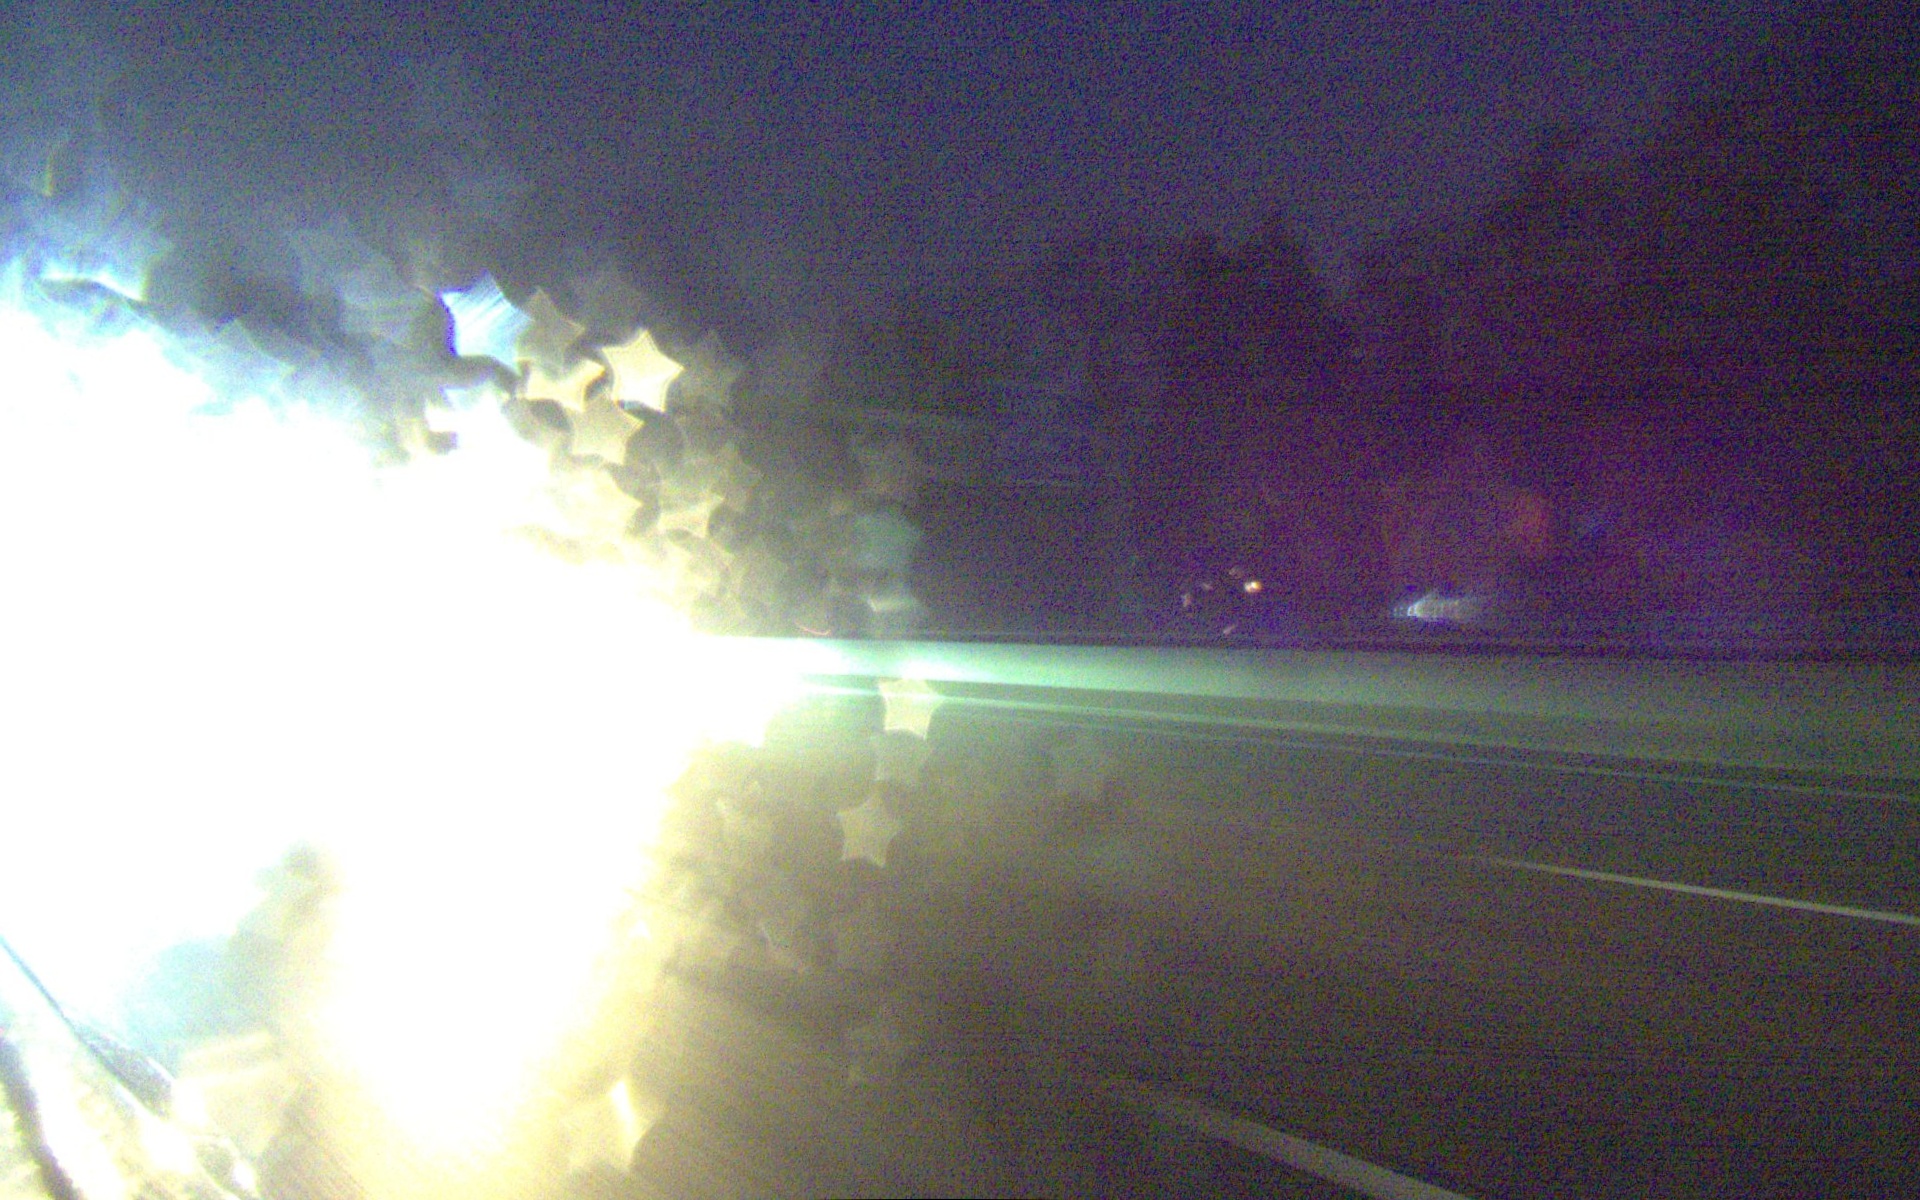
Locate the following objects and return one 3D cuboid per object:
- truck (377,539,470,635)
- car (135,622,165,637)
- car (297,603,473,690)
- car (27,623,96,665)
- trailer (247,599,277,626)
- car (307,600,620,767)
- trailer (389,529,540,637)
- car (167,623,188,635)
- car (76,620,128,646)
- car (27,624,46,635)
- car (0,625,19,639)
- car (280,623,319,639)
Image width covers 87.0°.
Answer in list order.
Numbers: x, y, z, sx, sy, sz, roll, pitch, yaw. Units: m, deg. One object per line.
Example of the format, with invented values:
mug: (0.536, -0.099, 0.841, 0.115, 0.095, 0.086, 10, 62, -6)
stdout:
truck: (-36.969, -0.887, 69.683, 6.172, 6.172, 3.426, -1, 4, 43)
car: (-94.407, 3.413, 117.919, 4.674, 1.608, 1.972, -1, 2, 43)
car: (-13.494, 1.003, 23.633, 4.882, 1.790, 1.974, -1, 0, 40)
car: (-39.944, 1.897, 44.949, 4.001, 1.689, 1.971, -1, 0, 44)
trailer: (-137.649, 2.417, 199.368, 3.224, 5.106, 13.990, -1, 0, -41)
car: (-6.033, 0.849, 12.070, 4.232, 1.606, 1.895, -1, 0, 42)
trailer: (-32.149, -0.979, 65.154, 14.408, 6.172, 3.426, -1, 4, 43)
car: (-116.010, 4.300, 149.987, 1.970, 1.607, 5.026, -4, 3, -42)
car: (-58.278, 2.222, 68.719, 3.871, 1.621, 2.279, -1, 0, 43)
car: (-115.659, 3.670, 126.735, 1.669, 1.165, 3.423, -4, 3, -44)
car: (-81.756, 2.731, 86.587, 1.669, 1.165, 3.422, -2, 0, -45)
car: (-52.463, 2.455, 80.370, 3.657, 1.164, 1.685, -1, 0, 41)
